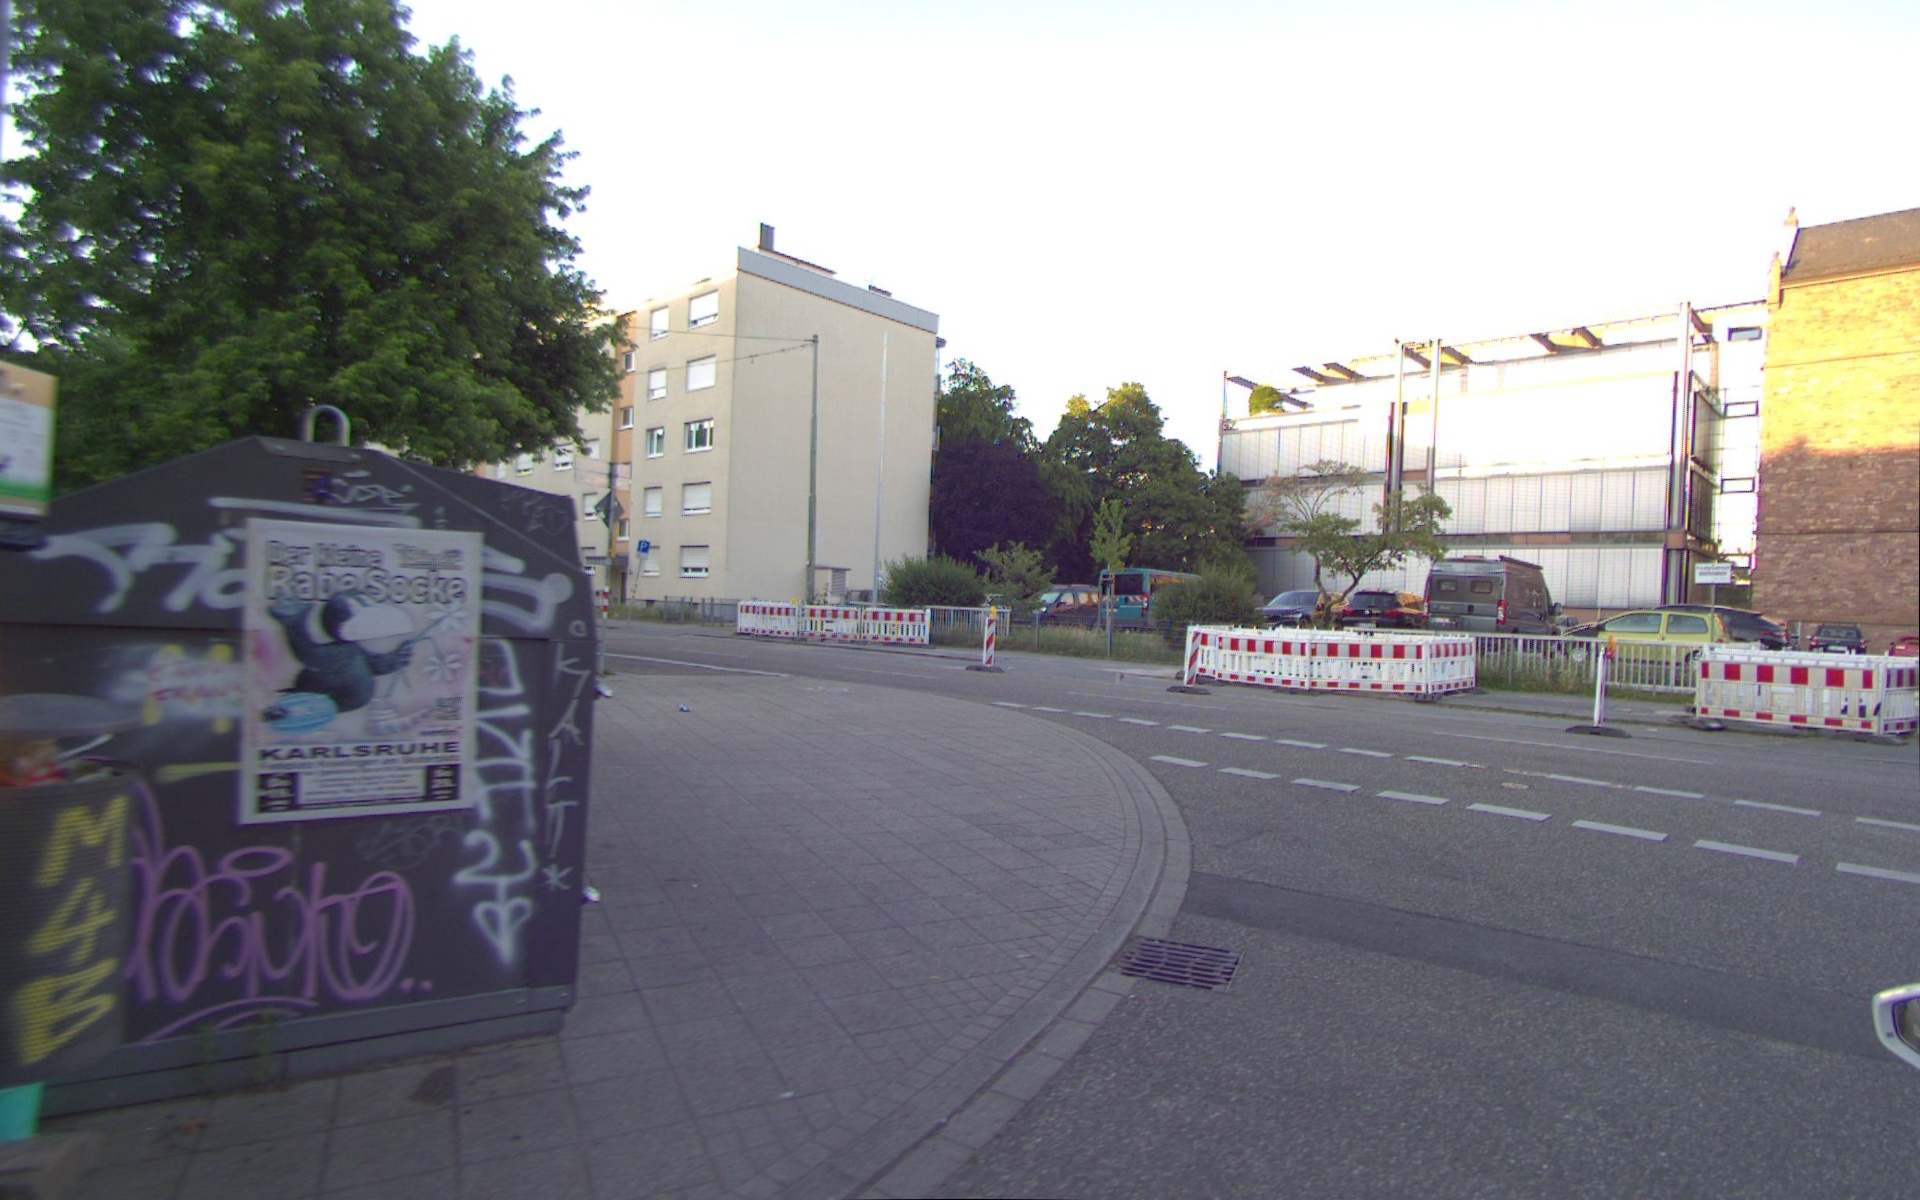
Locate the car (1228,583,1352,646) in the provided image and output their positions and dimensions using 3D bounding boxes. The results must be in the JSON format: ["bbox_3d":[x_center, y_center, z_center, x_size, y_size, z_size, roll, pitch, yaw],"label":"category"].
[{"bbox_3d":[10.061,0.435,30.474,1.971,1.750,4.277,2,0,42],"label":"car"}]

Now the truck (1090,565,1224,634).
[{"bbox_3d":[6.618,0.019,33.463,4.480,2.118,2.086,2,0,-43],"label":"truck"}]

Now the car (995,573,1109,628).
[{"bbox_3d":[3.447,0.047,37.151,1.972,1.850,4.201,2,0,44],"label":"car"}]

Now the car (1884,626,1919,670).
[{"bbox_3d":[36.503,1.807,38.159,1.877,1.558,4.153,2,0,44],"label":"car"}]

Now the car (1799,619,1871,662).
[{"bbox_3d":[34.996,1.597,40.143,1.877,1.558,4.153,2,0,44],"label":"car"}]

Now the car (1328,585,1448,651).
[{"bbox_3d":[12.406,0.511,29.021,1.971,1.715,3.978,2,0,42],"label":"car"}]

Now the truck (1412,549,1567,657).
[{"bbox_3d":[14.380,0.100,27.159,2.310,2.652,4.941,2,0,45],"label":"truck"}]

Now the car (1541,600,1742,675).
[{"bbox_3d":[15.743,0.822,23.320,1.626,1.524,3.596,2,0,-44],"label":"car"}]

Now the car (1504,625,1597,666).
[{"bbox_3d":[21.678,1.635,36.814,1.919,1.323,4.337,2,0,44],"label":"car"}]

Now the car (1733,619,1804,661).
[{"bbox_3d":[33.580,1.635,41.690,1.877,1.558,4.153,2,0,44],"label":"car"}]

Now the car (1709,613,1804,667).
[{"bbox_3d":[26.143,1.279,32.921,1.973,1.597,4.337,2,0,44],"label":"car"}]

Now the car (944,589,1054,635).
[{"bbox_3d":[1.555,0.490,38.973,1.972,1.669,4.201,2,0,44],"label":"car"}]

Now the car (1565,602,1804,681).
[{"bbox_3d":[17.713,0.956,24.730,1.565,1.660,4.538,2,0,-43],"label":"car"}]

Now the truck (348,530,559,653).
[{"bbox_3d":[-11.576,-0.247,22.722,5.954,2.455,2.098,2,1,40],"label":"truck"}]
